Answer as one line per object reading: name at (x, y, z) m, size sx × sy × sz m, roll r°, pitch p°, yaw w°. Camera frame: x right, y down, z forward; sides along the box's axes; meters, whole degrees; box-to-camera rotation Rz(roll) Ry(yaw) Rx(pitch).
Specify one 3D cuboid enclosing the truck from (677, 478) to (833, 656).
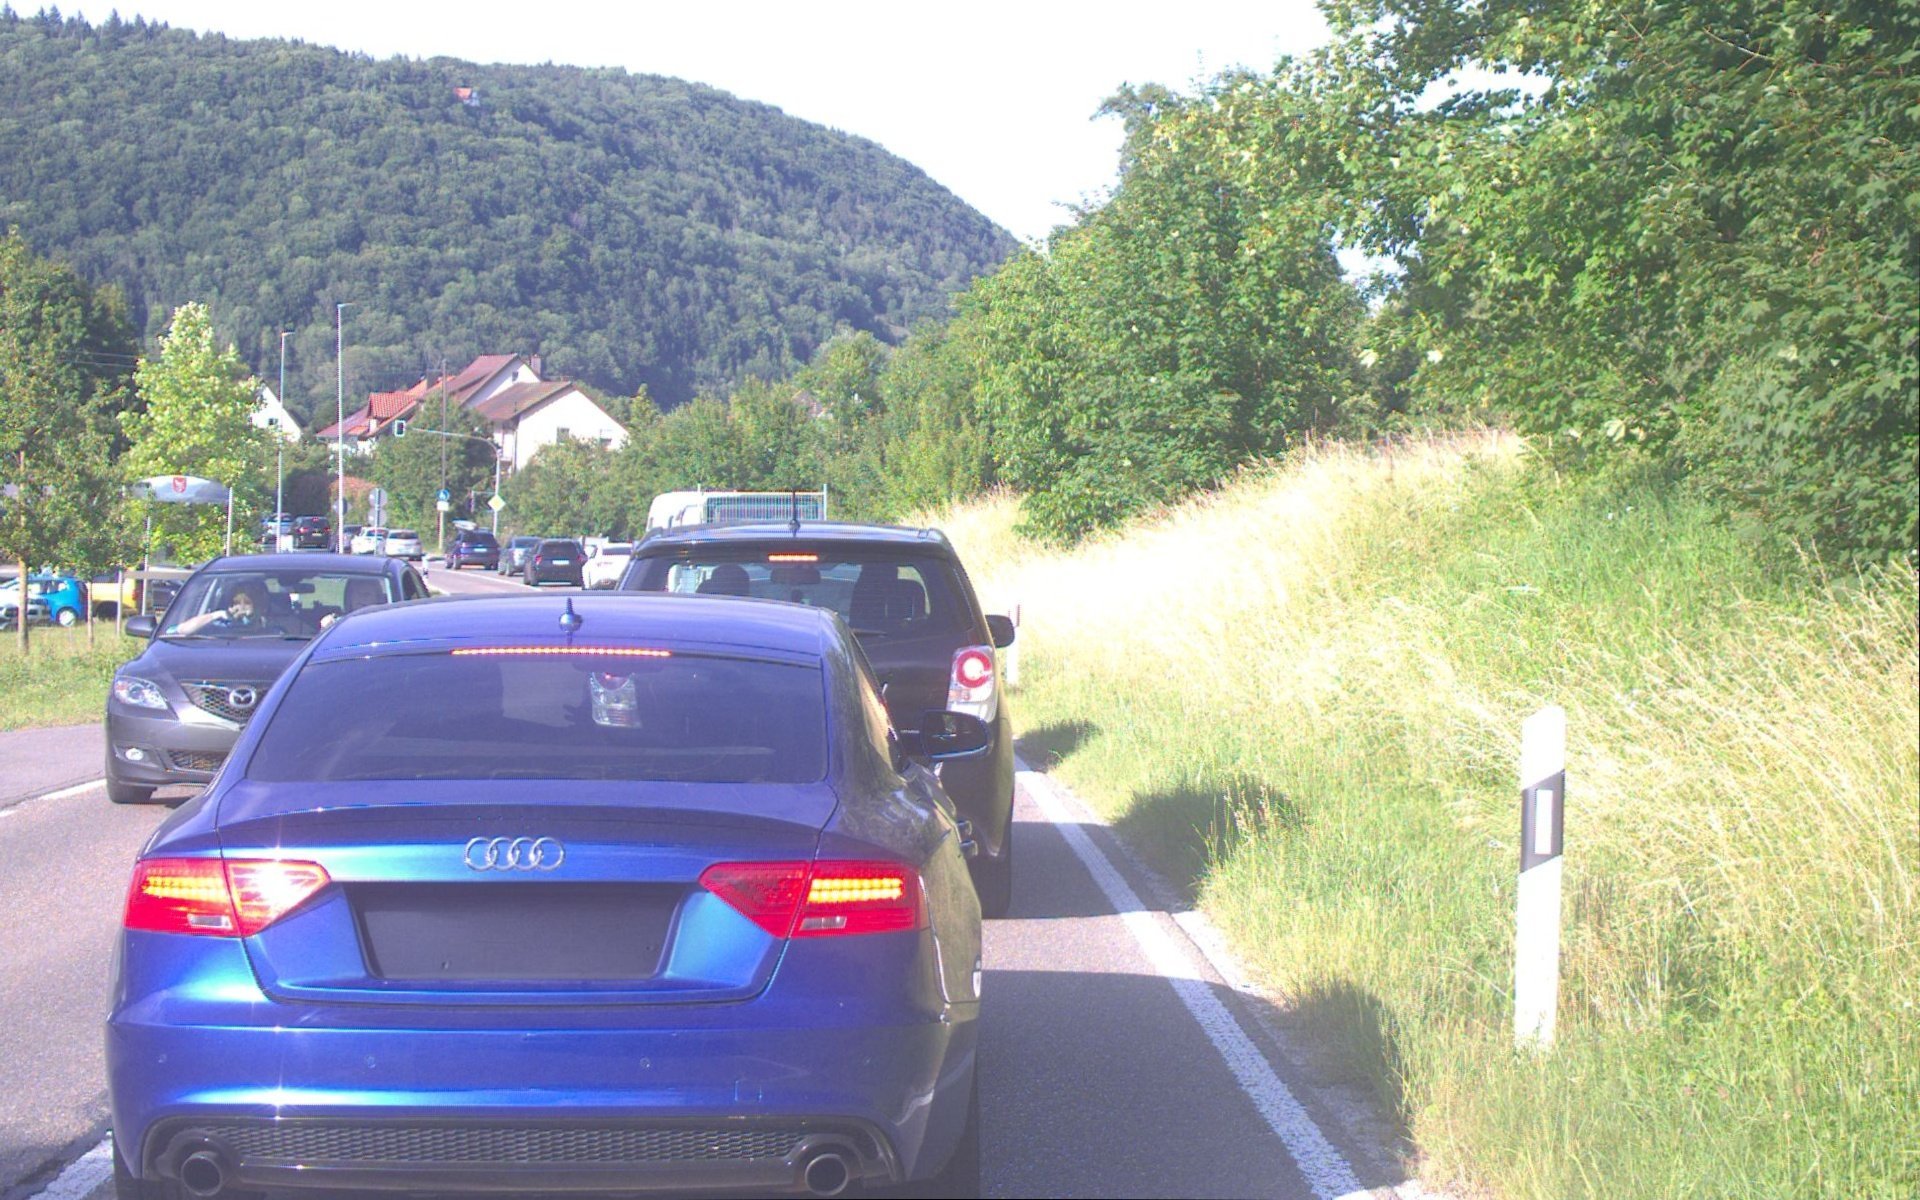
truck at (-3.184, -0.506, 52.971) m, size 2.229 × 2.561 × 6.104 m, roll 1°, pitch 0°, yaw -4°

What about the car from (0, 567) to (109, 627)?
car at (-27.308, -0.111, 101.324) m, size 3.986 × 1.705 × 2.000 m, roll 1°, pitch 0°, yaw -3°

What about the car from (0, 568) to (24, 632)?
car at (-27.361, -0.030, 92.252) m, size 3.986 × 1.705 × 2.000 m, roll 1°, pitch 0°, yaw -3°

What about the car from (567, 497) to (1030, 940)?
car at (-0.611, 0.436, 15.110) m, size 1.754 × 1.675 × 3.846 m, roll 1°, pitch 0°, yaw 0°

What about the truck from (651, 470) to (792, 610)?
truck at (-4.708, -1.150, 67.005) m, size 2.229 × 2.561 × 6.709 m, roll 1°, pitch 0°, yaw -8°

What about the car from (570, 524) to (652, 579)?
car at (-9.776, -1.347, 96.100) m, size 1.845 × 1.477 × 4.001 m, roll 1°, pitch 0°, yaw -12°

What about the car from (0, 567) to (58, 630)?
car at (-27.298, -0.059, 95.537) m, size 3.986 × 1.705 × 2.000 m, roll 1°, pitch 0°, yaw -3°

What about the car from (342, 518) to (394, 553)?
car at (-29.039, -3.157, 168.610) m, size 1.845 × 1.706 × 4.001 m, roll 1°, pitch 1°, yaw -19°

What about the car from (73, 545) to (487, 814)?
car at (-3.925, 0.408, 20.471) m, size 1.704 × 1.425 × 4.051 m, roll 1°, pitch 0°, yaw -1°

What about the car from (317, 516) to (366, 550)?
car at (-32.087, -3.459, 178.288) m, size 1.845 × 1.706 × 4.001 m, roll 1°, pitch 1°, yaw -20°

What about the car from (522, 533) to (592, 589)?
car at (-12.718, -1.225, 108.354) m, size 1.845 × 1.706 × 4.001 m, roll 1°, pitch 0°, yaw -11°

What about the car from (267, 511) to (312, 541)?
car at (-38.461, -4.226, 197.079) m, size 1.845 × 1.706 × 4.001 m, roll 1°, pitch 1°, yaw -21°

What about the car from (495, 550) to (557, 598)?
car at (-15.834, -0.960, 125.257) m, size 1.845 × 1.706 × 4.001 m, roll 1°, pitch 0°, yaw -13°

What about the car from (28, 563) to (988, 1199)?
car at (-0.824, 0.639, 8.248) m, size 1.754 × 1.425 × 3.846 m, roll 1°, pitch 0°, yaw 0°

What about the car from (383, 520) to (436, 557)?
car at (-25.609, -2.848, 159.819) m, size 1.845 × 1.706 × 4.001 m, roll 1°, pitch 0°, yaw -18°

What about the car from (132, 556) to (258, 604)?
car at (-26.318, -0.692, 118.333) m, size 3.986 × 1.573 × 1.753 m, roll 1°, pitch 0°, yaw -3°

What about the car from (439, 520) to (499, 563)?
car at (-20.021, -2.382, 140.081) m, size 1.845 × 1.706 × 4.001 m, roll 1°, pitch 0°, yaw -17°

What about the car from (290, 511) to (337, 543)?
car at (-35.430, -4.008, 188.353) m, size 1.845 × 1.706 × 4.001 m, roll 1°, pitch 1°, yaw -21°

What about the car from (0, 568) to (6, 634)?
car at (-26.840, 0.009, 88.596) m, size 3.986 × 1.705 × 2.000 m, roll 1°, pitch 0°, yaw -3°

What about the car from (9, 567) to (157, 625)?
car at (-26.507, -0.124, 103.999) m, size 3.986 × 1.705 × 2.000 m, roll 1°, pitch 0°, yaw -3°
